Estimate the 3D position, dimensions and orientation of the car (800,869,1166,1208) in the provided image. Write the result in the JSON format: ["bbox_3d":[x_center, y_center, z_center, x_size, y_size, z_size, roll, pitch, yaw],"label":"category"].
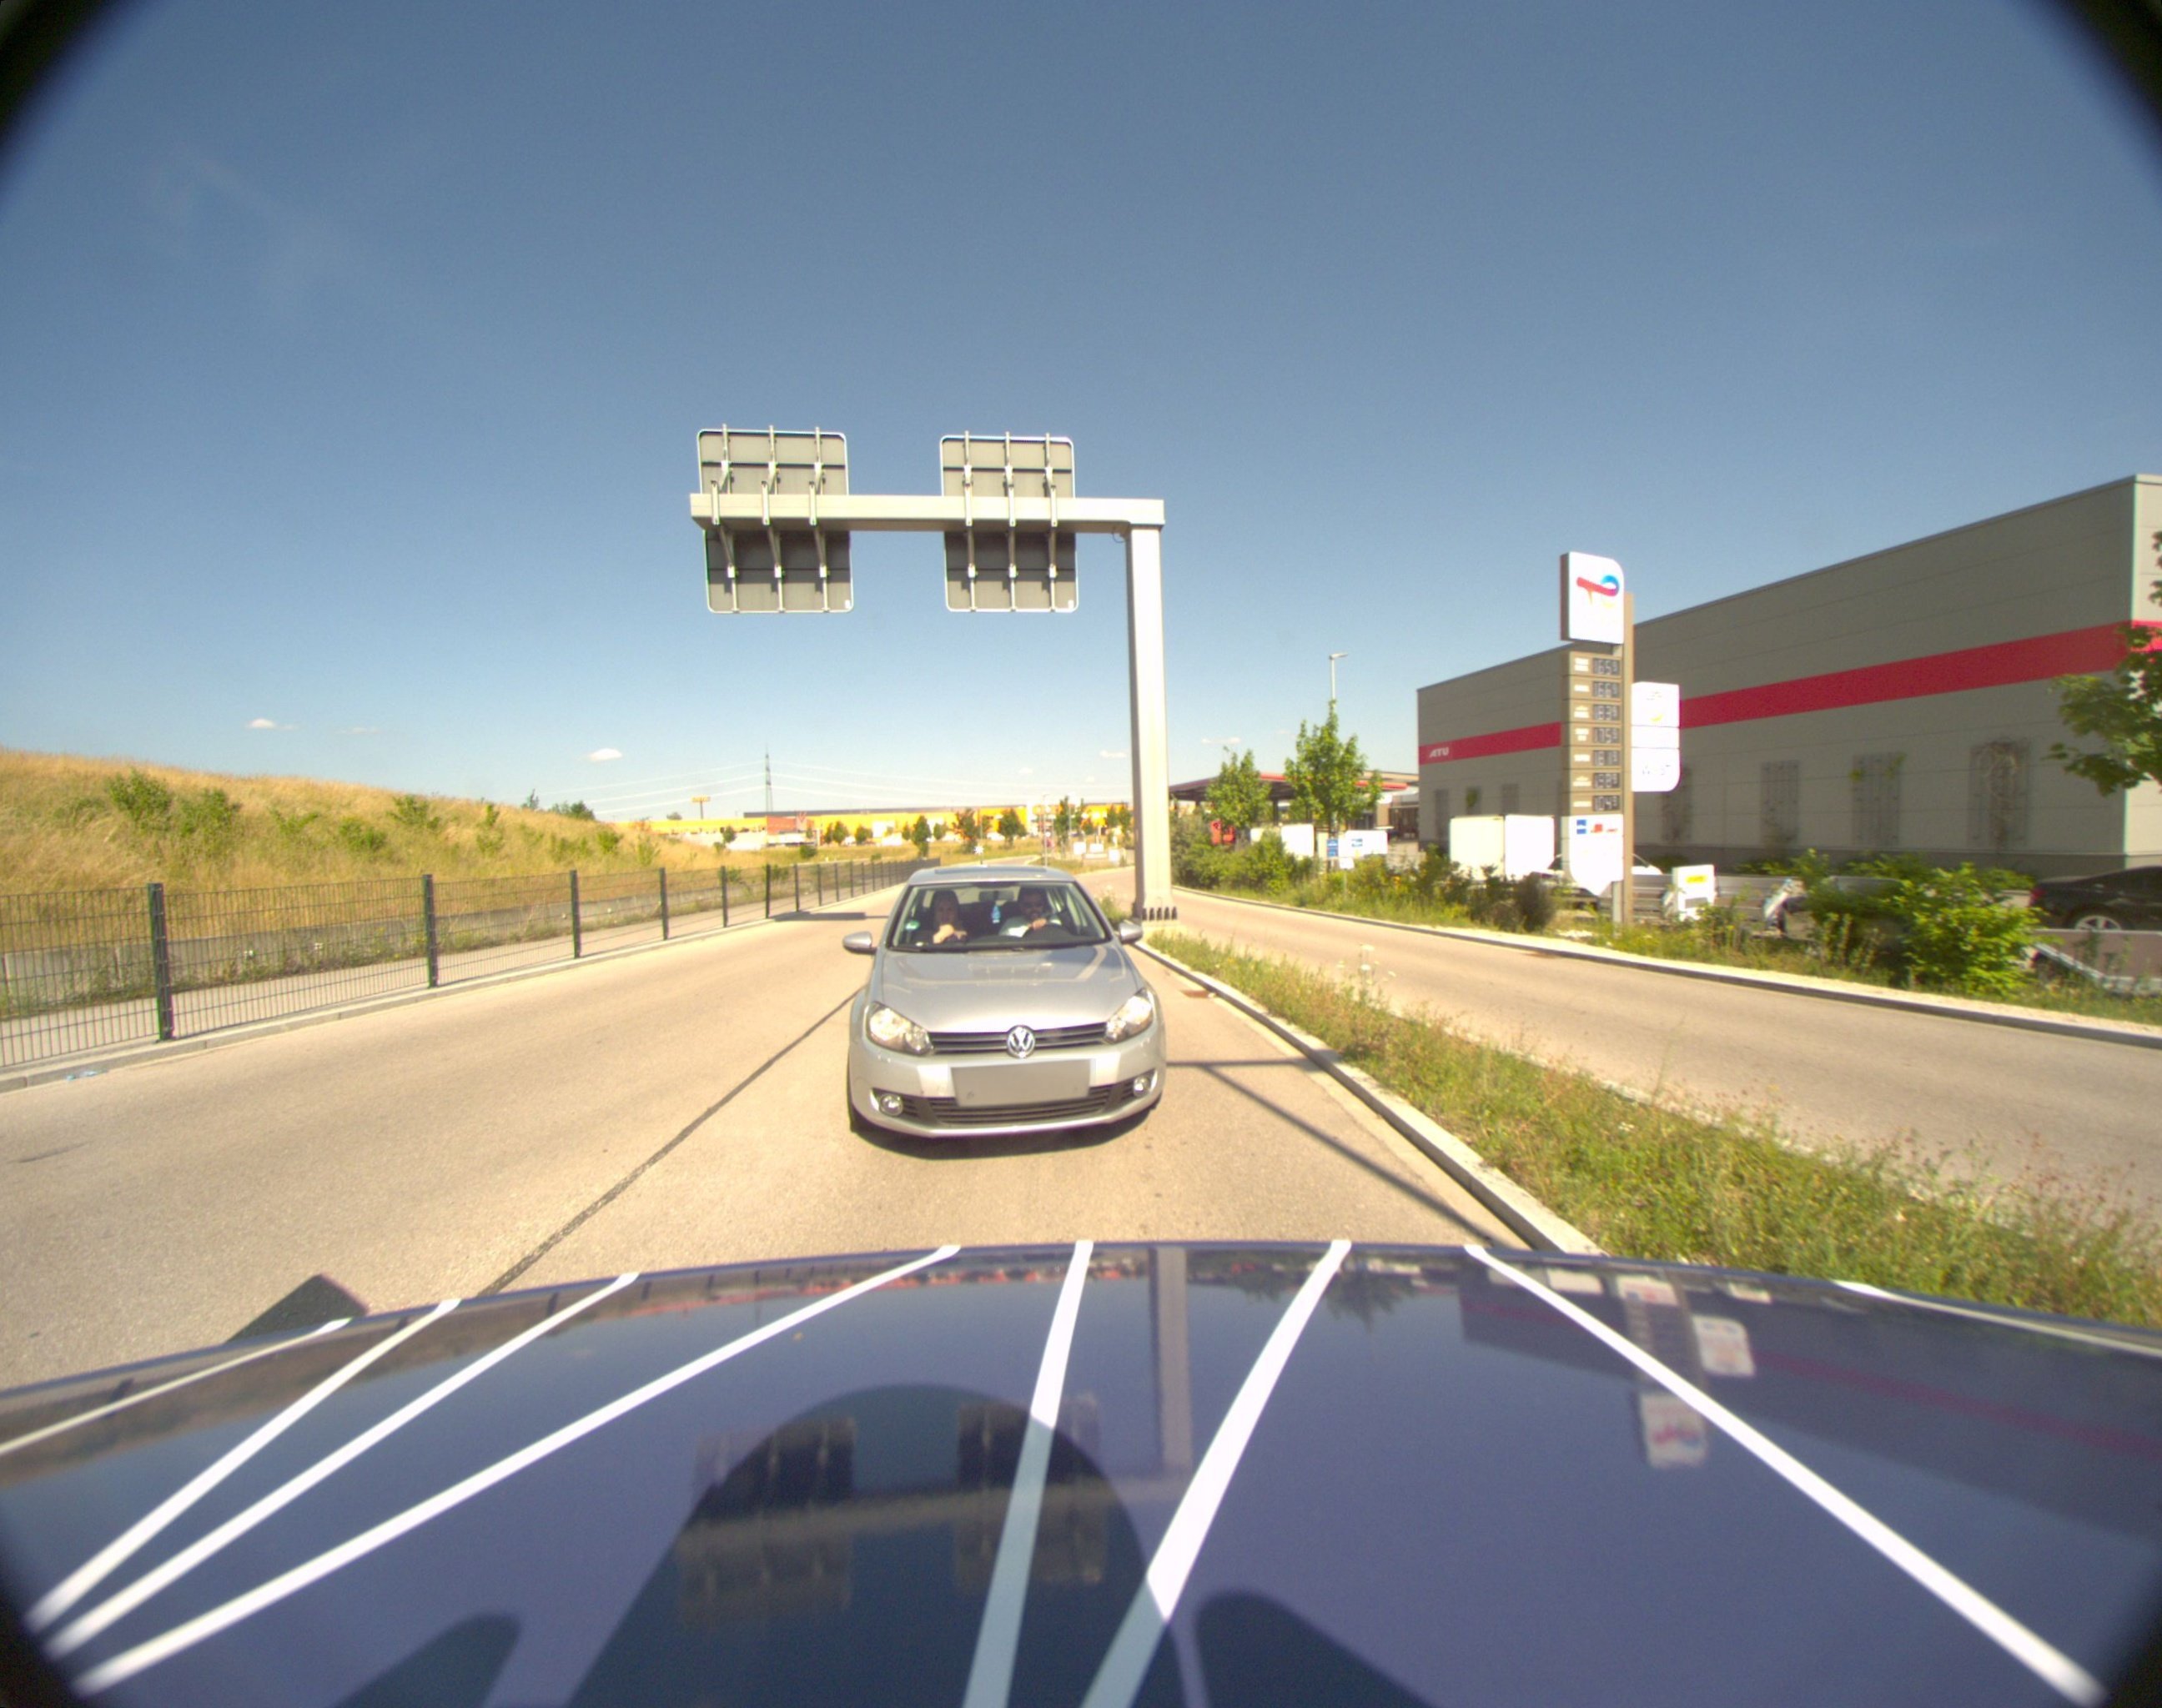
[{"bbox_3d":[-0.711,0.909,5.636,1.747,1.459,3.957,0,1,-8],"label":"car"}]

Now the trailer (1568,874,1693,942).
[{"bbox_3d":[11.339,1.058,15.634,2.780,1.080,1.317,-4,2,-37],"label":"trailer"}]

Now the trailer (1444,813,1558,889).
[{"bbox_3d":[12.299,-0.115,22.199,3.245,2.002,1.743,-4,2,-38],"label":"trailer"}]

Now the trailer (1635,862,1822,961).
[{"bbox_3d":[11.987,0.969,14.062,3.195,1.475,1.545,-3,2,-28],"label":"trailer"}]

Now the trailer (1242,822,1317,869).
[{"bbox_3d":[9.265,-0.412,35.437,1.994,2.002,3.212,-1,2,44],"label":"trailer"}]

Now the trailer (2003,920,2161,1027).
[{"bbox_3d":[13.411,1.494,9.836,2.842,0.877,1.861,-4,2,-39],"label":"trailer"}]

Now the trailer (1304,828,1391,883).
[{"bbox_3d":[10.635,0.032,30.316,2.741,2.002,1.995,-4,2,-34],"label":"trailer"}]

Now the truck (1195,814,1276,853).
[{"bbox_3d":[14.468,-1.888,71.268,6.910,3.300,2.637,-3,2,-17],"label":"truck"}]

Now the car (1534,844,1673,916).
[{"bbox_3d":[13.564,0.593,19.659,4.006,1.527,1.714,-4,2,-36],"label":"car"}]

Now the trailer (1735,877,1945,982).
[{"bbox_3d":[12.305,1.143,12.328,2.915,1.314,1.387,-3,2,-22],"label":"trailer"}]

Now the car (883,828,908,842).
[{"bbox_3d":[-36.550,-3.678,149.877,4.637,2.534,1.998,-3,2,-11],"label":"car"}]

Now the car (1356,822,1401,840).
[{"bbox_3d":[29.202,-2.282,74.614,3.683,1.566,1.695,-3,2,-1],"label":"car"}]

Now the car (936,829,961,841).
[{"bbox_3d":[-26.415,-3.786,151.438,4.637,2.002,1.998,-3,2,-11],"label":"car"}]

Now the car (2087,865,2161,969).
[{"bbox_3d":[17.253,0.961,10.040,1.803,1.475,4.494,-3,1,-6],"label":"car"}]

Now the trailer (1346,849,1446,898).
[{"bbox_3d":[11.521,0.684,27.697,3.605,1.502,1.596,-4,1,-34],"label":"trailer"}]
